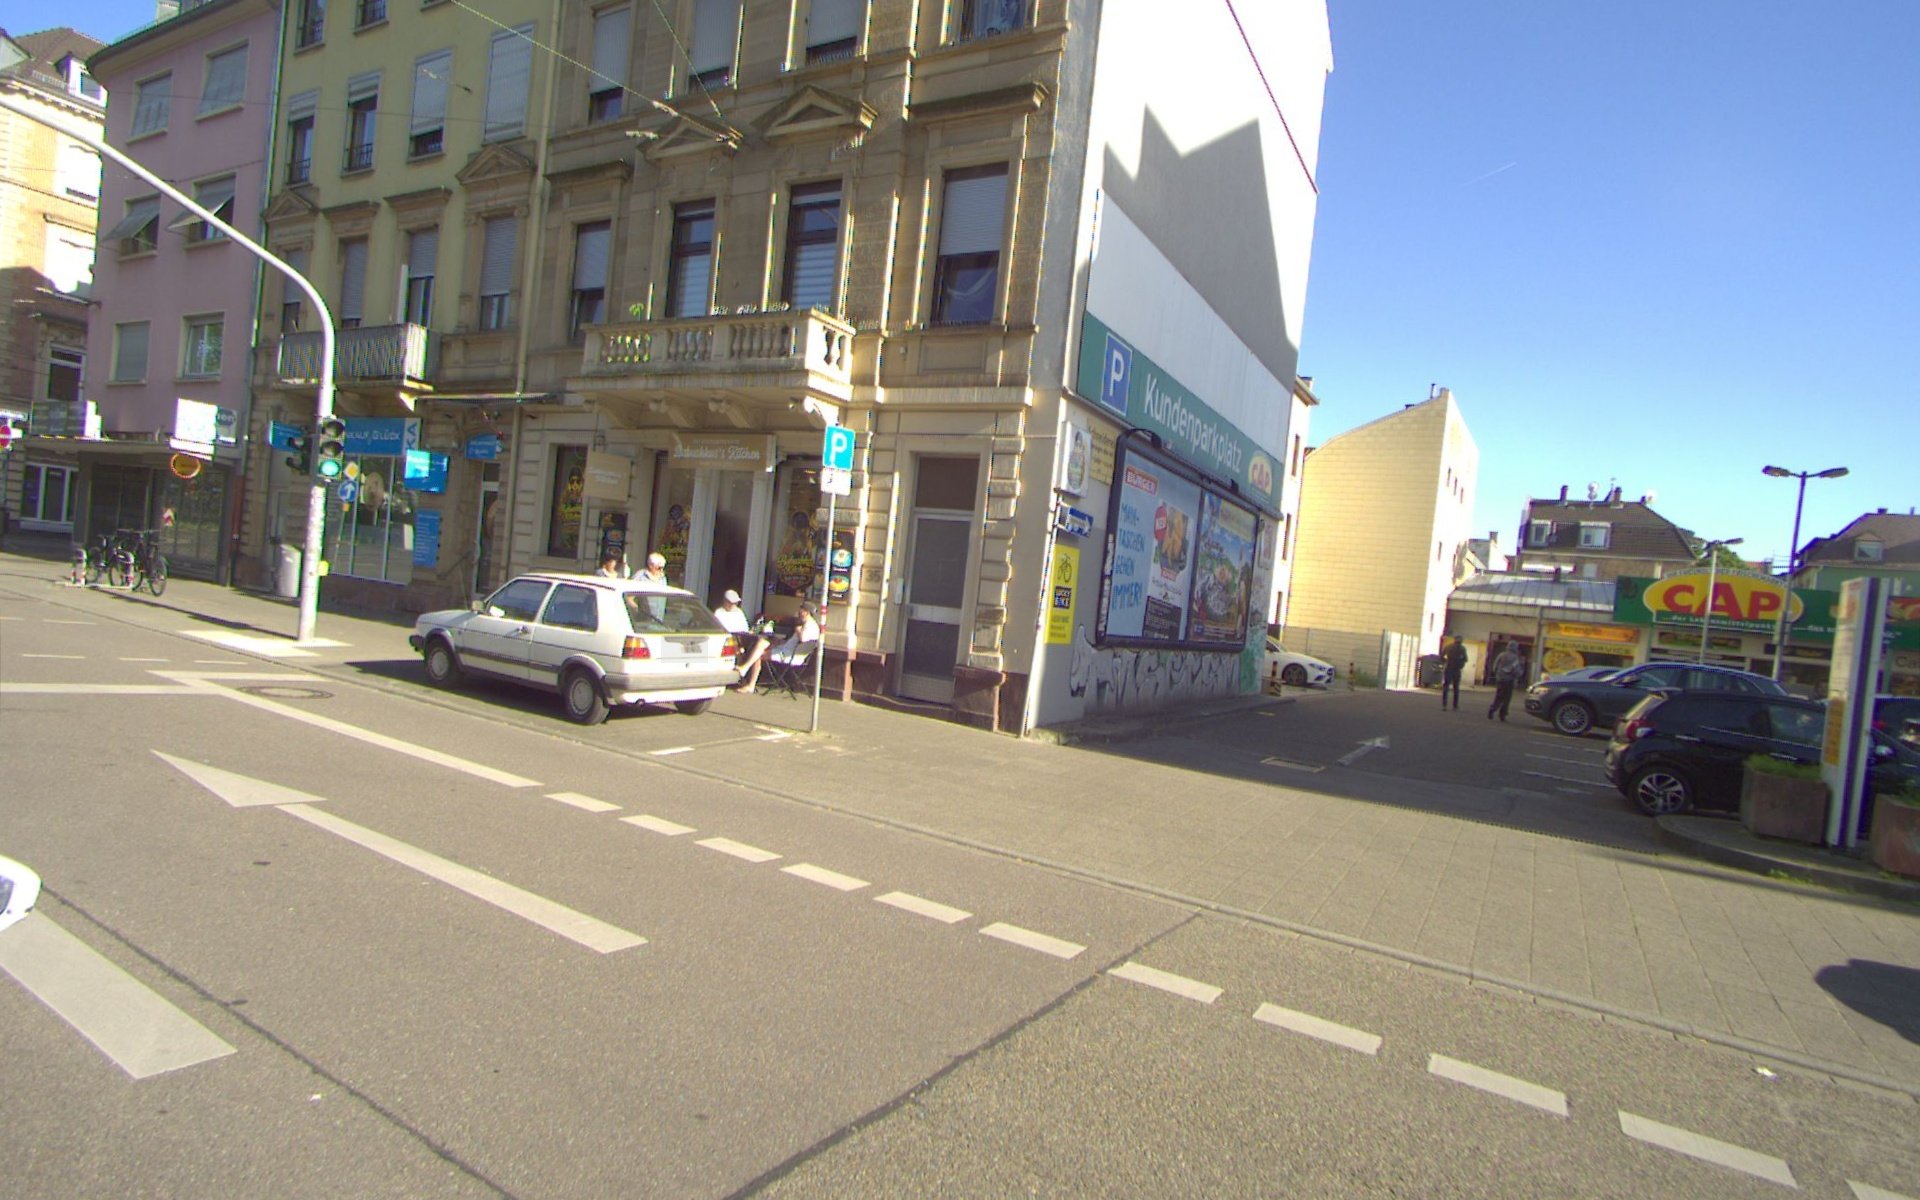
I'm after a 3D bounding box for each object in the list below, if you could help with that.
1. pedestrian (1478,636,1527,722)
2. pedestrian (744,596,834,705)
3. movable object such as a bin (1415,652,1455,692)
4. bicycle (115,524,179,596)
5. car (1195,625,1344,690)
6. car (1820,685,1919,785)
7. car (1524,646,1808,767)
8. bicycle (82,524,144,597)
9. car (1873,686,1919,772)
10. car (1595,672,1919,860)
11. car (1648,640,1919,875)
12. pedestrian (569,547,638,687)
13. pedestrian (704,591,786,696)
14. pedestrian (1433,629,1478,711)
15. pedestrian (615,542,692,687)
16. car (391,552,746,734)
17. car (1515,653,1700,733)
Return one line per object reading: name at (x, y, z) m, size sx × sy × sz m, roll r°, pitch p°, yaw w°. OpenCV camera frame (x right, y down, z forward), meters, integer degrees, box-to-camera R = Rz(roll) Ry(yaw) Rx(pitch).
pedestrian at (11.956, 1.727, 22.166) m, size 0.750 × 1.778 × 0.512 m, roll 7°, pitch 1°, yaw 31°
pedestrian at (-2.205, 0.634, 13.041) m, size 0.644 × 1.299 × 0.902 m, roll 7°, pitch 3°, yaw 26°
movable object such as a bin at (19.970, 3.017, 42.261) m, size 1.258 × 1.527 × 1.174 m, roll 7°, pitch 1°, yaw 31°
bicycle at (-14.970, -0.744, 18.504) m, size 1.731 × 1.173 × 0.448 m, roll 7°, pitch 1°, yaw 38°
car at (9.455, 1.736, 30.820) m, size 3.934 × 1.482 × 1.756 m, roll 6°, pitch 0°, yaw 31°
car at (17.778, 2.549, 17.534) m, size 3.872 × 1.564 × 1.543 m, roll 7°, pitch 1°, yaw 31°
car at (13.819, 2.029, 20.036) m, size 4.309 × 1.687 × 1.756 m, roll 6°, pitch 1°, yaw 32°
bicycle at (-15.239, -0.719, 18.080) m, size 1.782 × 1.155 × 0.414 m, roll 7°, pitch 0°, yaw 38°
car at (20.408, 2.730, 19.298) m, size 3.872 × 1.601 × 1.658 m, roll 7°, pitch 1°, yaw 31°
car at (9.086, 1.763, 11.018) m, size 3.336 × 1.504 × 1.561 m, roll 7°, pitch 0°, yaw 28°
car at (8.342, 1.399, 8.501) m, size 3.835 × 1.667 × 1.651 m, roll 6°, pitch 2°, yaw 28°
pedestrian at (-4.540, 0.223, 12.827) m, size 0.382 × 1.730 × 0.550 m, roll 7°, pitch 1°, yaw 34°
pedestrian at (-2.832, 0.559, 13.288) m, size 0.598 × 1.299 × 0.798 m, roll 7°, pitch 3°, yaw 29°
pedestrian at (11.874, 1.669, 24.145) m, size 0.749 × 1.864 × 0.747 m, roll 7°, pitch 1°, yaw 24°
pedestrian at (-4.039, 0.194, 13.285) m, size 0.522 × 1.831 × 0.673 m, roll 7°, pitch 3°, yaw 31°
car at (-4.396, 0.366, 11.121) m, size 3.937 × 1.435 × 1.562 m, roll 7°, pitch 4°, yaw 32°
car at (17.236, 2.439, 26.981) m, size 3.933 × 1.538 × 1.723 m, roll 7°, pitch 1°, yaw 31°
